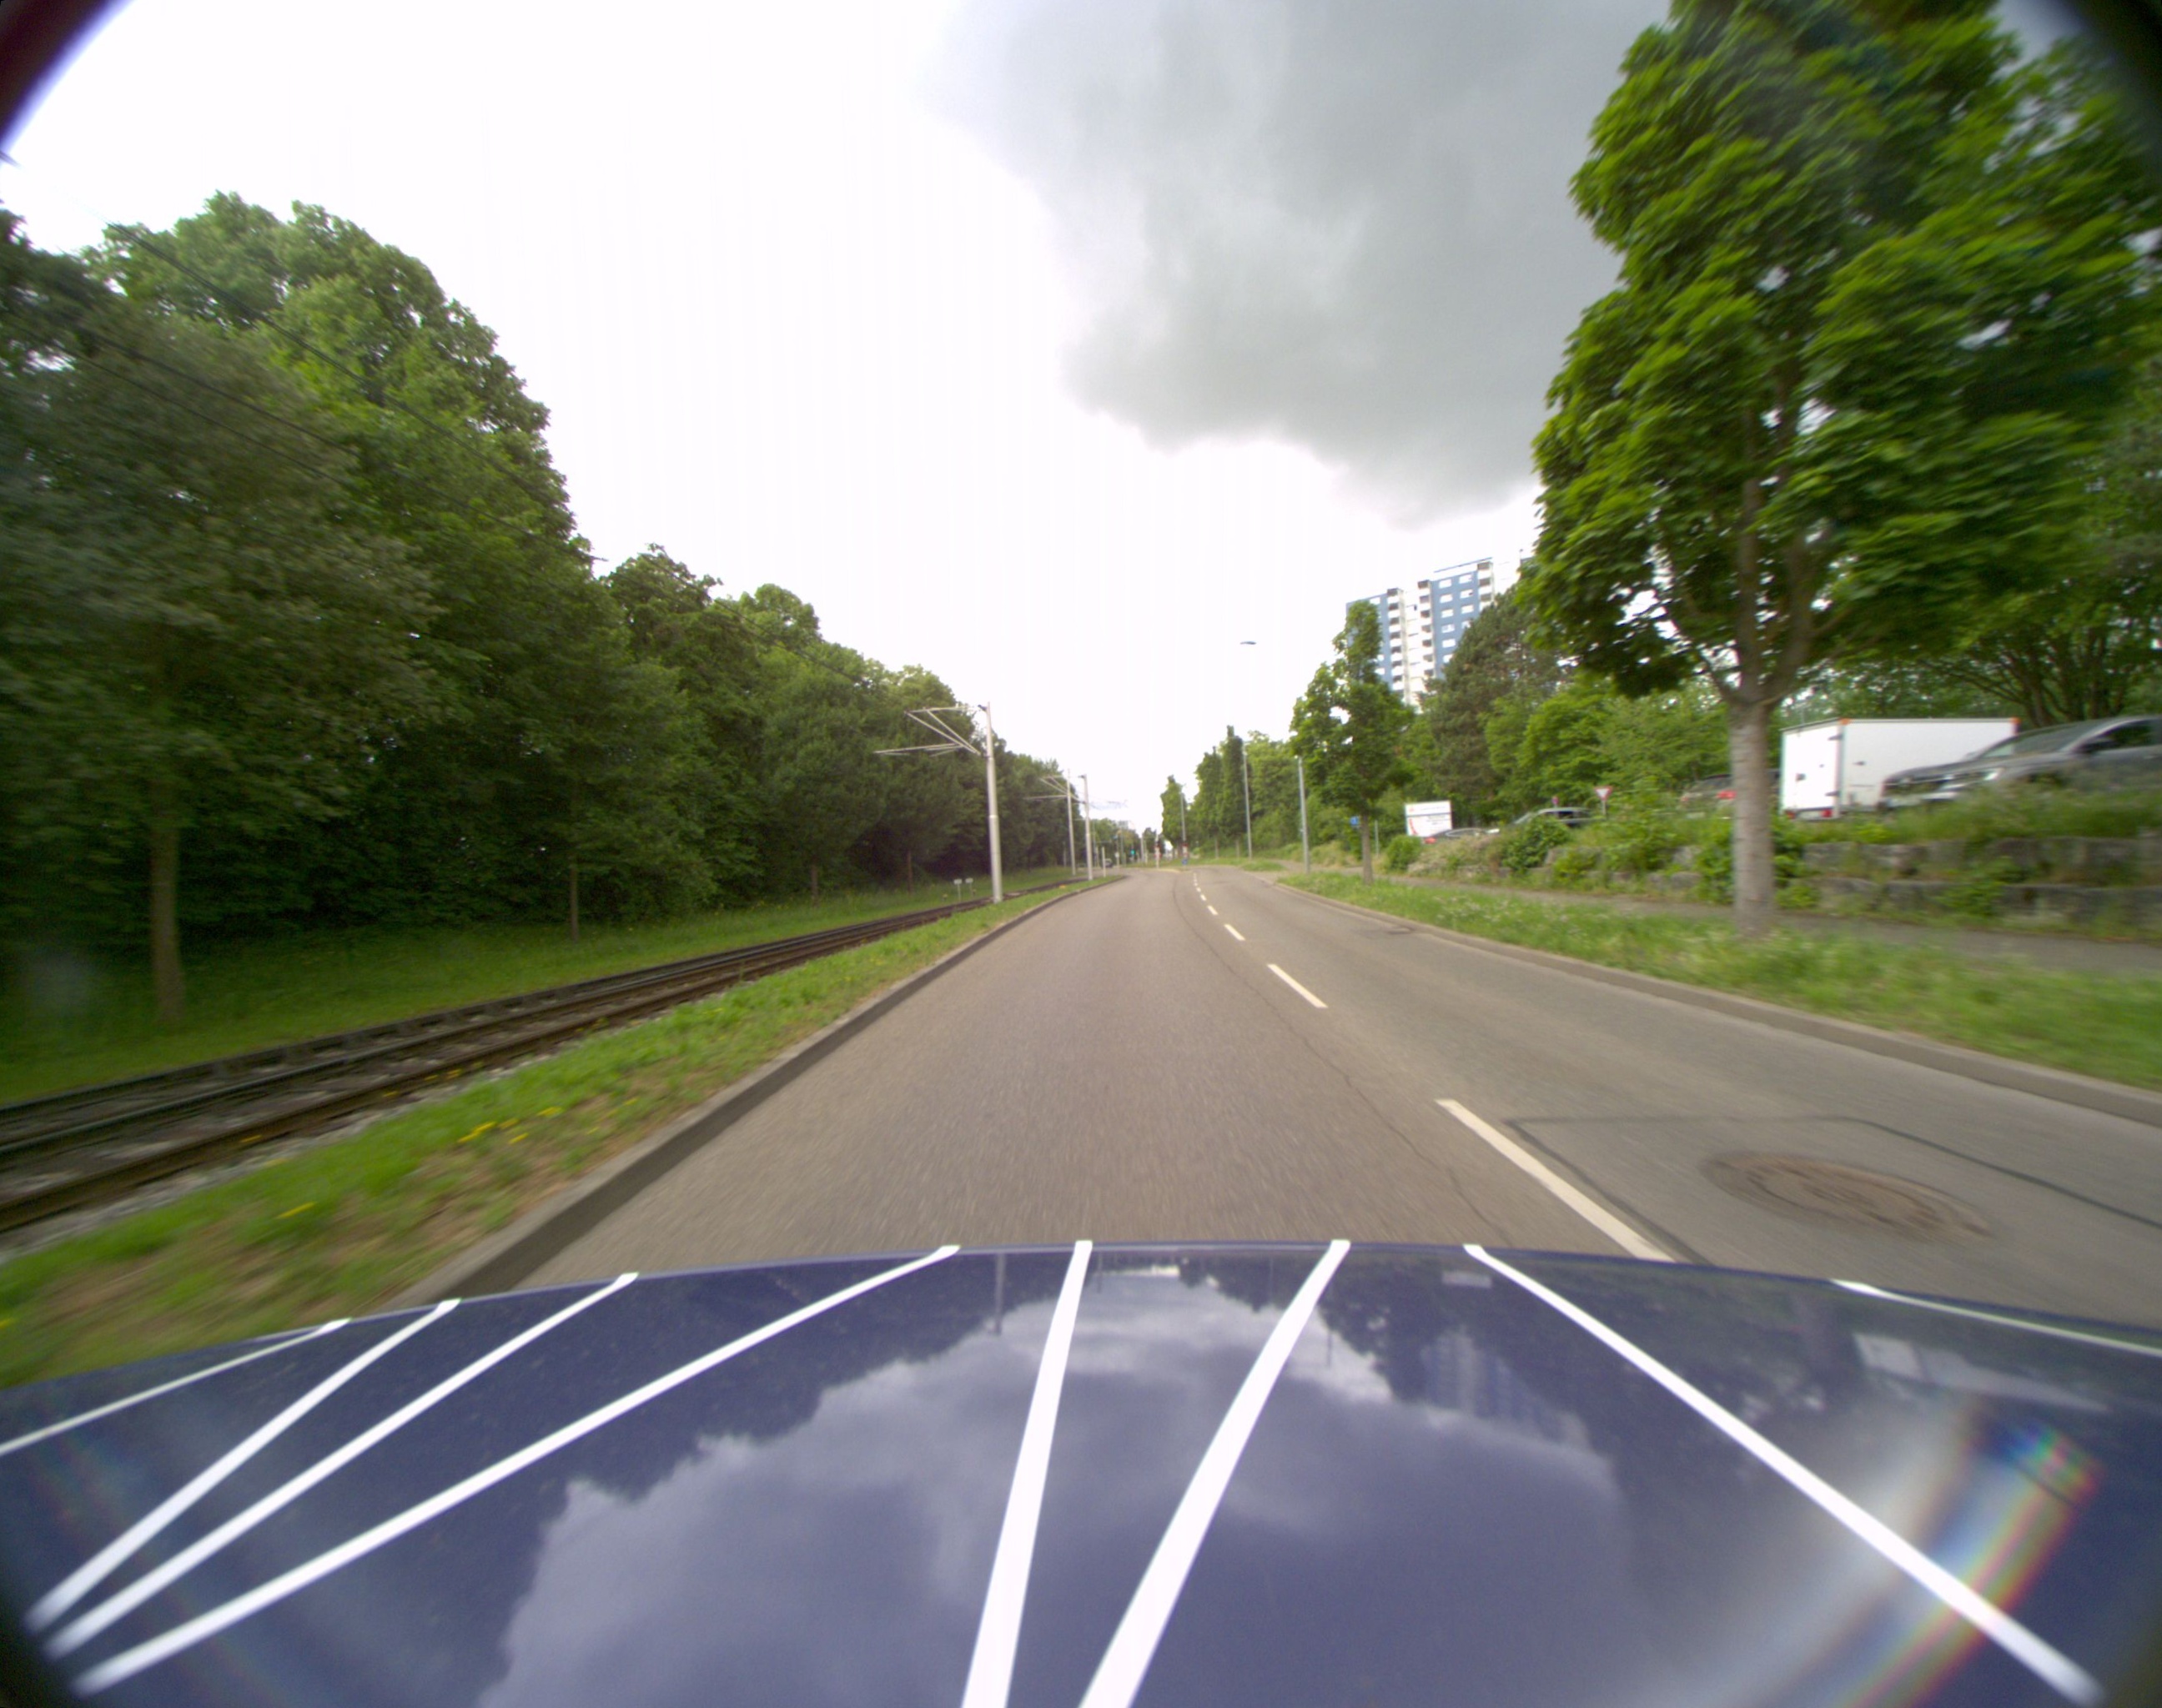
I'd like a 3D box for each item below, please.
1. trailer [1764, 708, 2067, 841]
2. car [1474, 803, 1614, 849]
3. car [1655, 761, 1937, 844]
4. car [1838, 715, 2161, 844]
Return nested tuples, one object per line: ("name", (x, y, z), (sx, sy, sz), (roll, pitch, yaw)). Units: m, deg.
("trailer", (15.027, -1.361, 13.877), (3.372, 2.046, 1.679), (-3, 0, 9))
("car", (17.502, -1.027, 28.917), (4.042, 1.409, 2.001), (-4, 0, 8))
("car", (15.468, -1.057, 16.684), (4.042, 1.409, 2.001), (-4, 0, 9))
("car", (14.546, -1.083, 11.411), (4.042, 1.575, 2.001), (-4, 0, 9))
